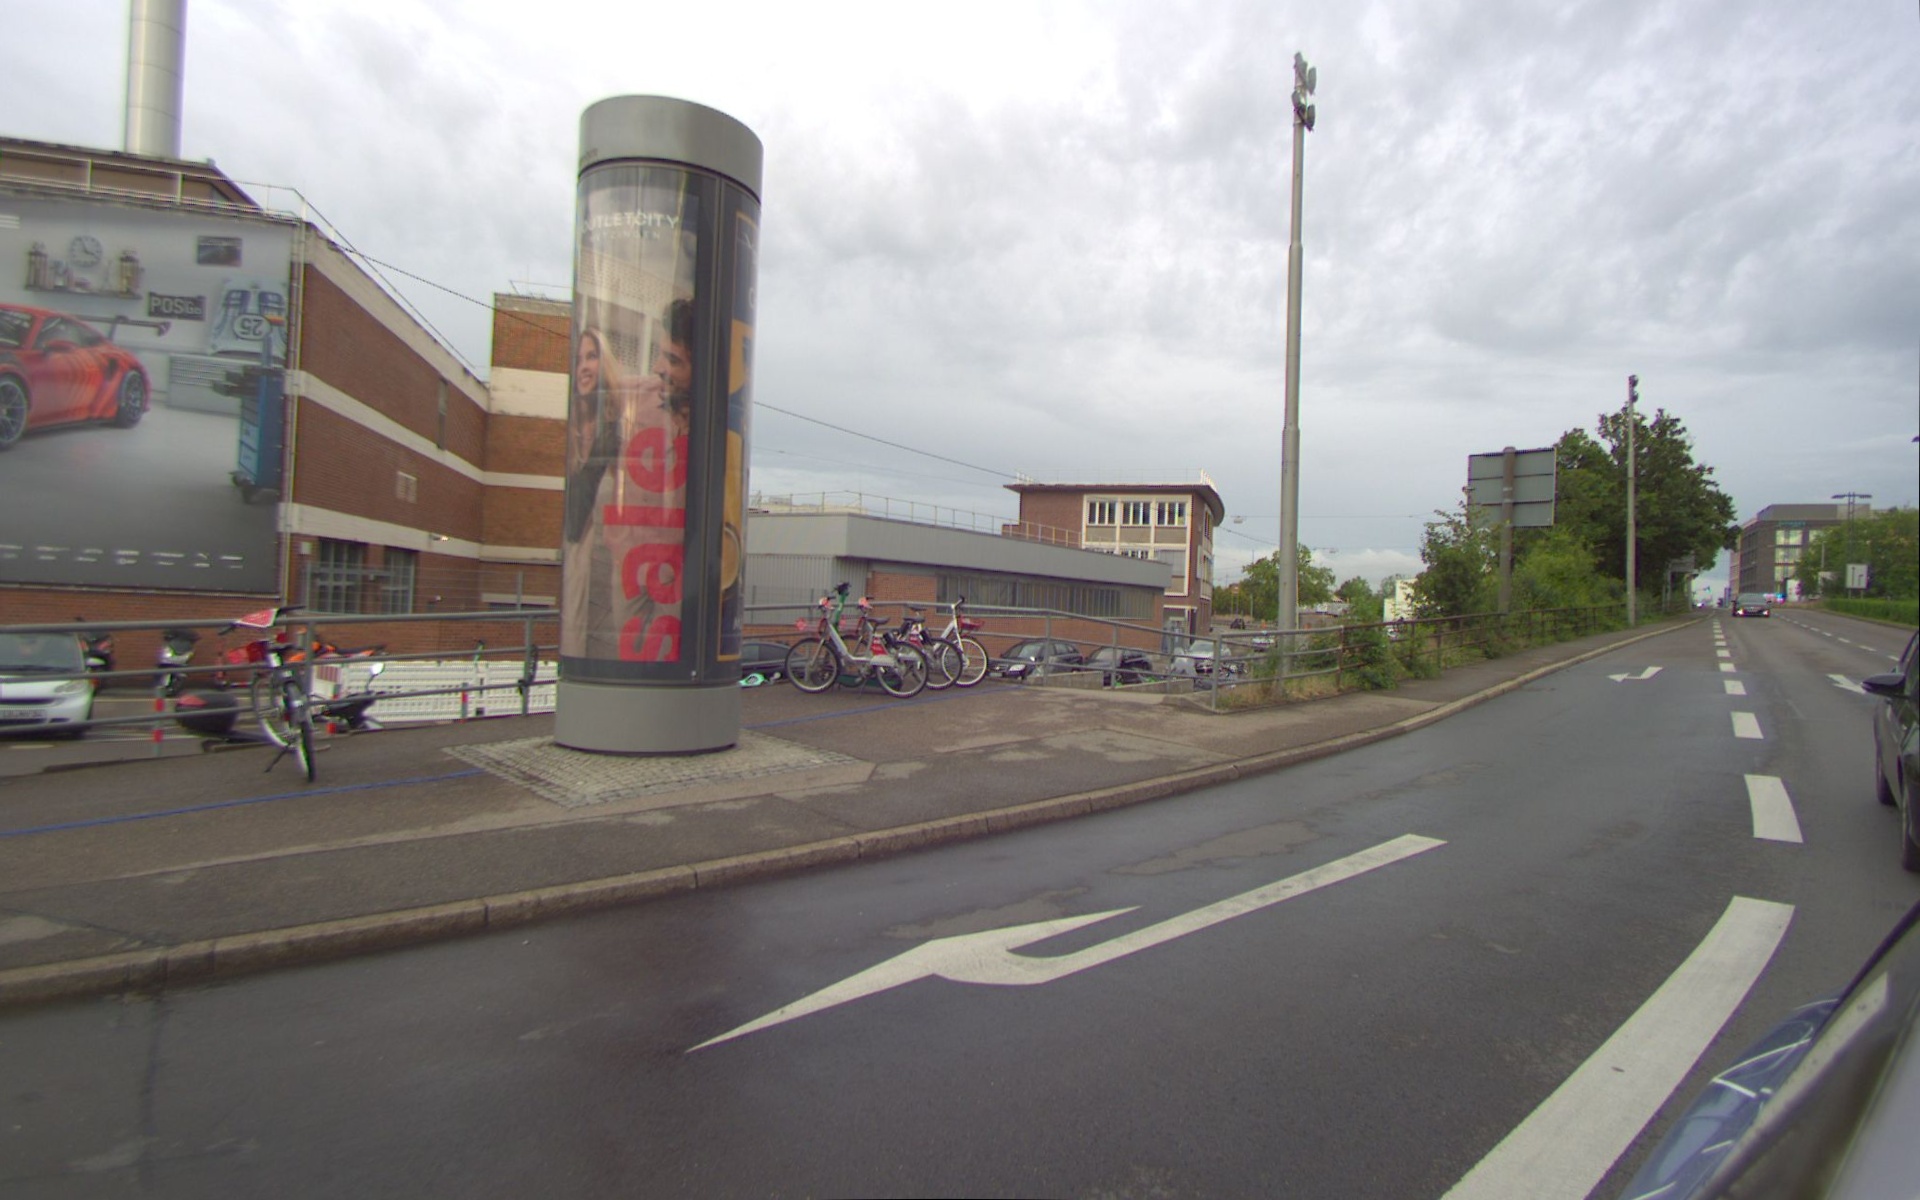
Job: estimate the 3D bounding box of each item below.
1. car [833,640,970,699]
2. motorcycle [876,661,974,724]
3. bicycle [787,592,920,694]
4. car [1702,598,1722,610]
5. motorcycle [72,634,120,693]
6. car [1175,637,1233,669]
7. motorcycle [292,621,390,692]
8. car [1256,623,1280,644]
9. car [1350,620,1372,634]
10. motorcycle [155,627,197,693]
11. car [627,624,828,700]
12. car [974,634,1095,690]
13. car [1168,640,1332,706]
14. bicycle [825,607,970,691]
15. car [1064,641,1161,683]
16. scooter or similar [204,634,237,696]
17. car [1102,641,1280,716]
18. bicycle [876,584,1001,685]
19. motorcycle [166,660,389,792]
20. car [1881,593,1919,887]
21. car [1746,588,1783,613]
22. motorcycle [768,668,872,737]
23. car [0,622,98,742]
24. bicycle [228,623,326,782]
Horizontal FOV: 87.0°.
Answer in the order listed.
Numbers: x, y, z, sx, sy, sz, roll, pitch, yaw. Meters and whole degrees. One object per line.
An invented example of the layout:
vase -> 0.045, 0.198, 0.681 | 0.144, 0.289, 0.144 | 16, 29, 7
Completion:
car -> -1.597, 1.919, 28.901 | 1.712, 1.444, 3.943 | 1, -1, 39
motorcycle -> -0.582, 1.505, 16.642 | 1.599, 0.933, 0.418 | 0, 0, 25
bicycle -> -1.221, 0.479, 11.653 | 1.438, 1.087, 0.442 | 2, 2, 9
car -> 97.815, 0.548, 131.670 | 1.805, 1.457, 4.250 | 2, 0, 33
motorcycle -> -16.173, 1.167, 18.967 | 0.531, 0.985, 1.616 | -1, 0, -35
car -> 12.244, 2.611, 50.607 | 1.720, 1.406, 3.955 | 1, -1, 31
motorcycle -> -12.747, 1.135, 20.890 | 0.521, 1.350, 1.646 | -1, 0, 38
car -> 23.261, 2.535, 76.395 | 1.698, 1.444, 3.976 | 1, 0, 18
car -> 44.907, 2.978, 113.328 | 1.695, 1.444, 3.982 | 1, 0, 14
motorcycle -> -15.227, 1.142, 19.678 | 0.574, 1.166, 1.720 | -1, 0, -35
car -> -5.378, 1.373, 23.940 | 1.880, 1.570, 4.445 | 1, -1, 38
car -> 2.590, 2.042, 34.337 | 1.777, 1.688, 4.438 | 1, -1, 41
car -> 7.592, 1.859, 26.799 | 1.688, 1.444, 3.999 | 2, -1, -36
bicycle -> -0.735, 0.573, 12.123 | 1.673, 0.933, 0.486 | 1, 1, 4
car -> 5.933, 2.338, 39.009 | 1.713, 1.422, 4.211 | 1, -1, 41
scooter or similar -> -14.666, 1.261, 20.088 | 0.495, 1.110, 1.639 | -1, 0, -35
car -> 5.372, 1.782, 23.965 | 1.688, 1.444, 3.999 | 2, -1, -36
bicycle -> -0.280, 0.412, 12.844 | 1.527, 1.169, 0.448 | 3, 3, 22
motorcycle -> -5.721, 1.016, 8.565 | 0.400, 0.901, 1.521 | 1, 1, 36
car -> 6.777, 0.730, 6.072 | 1.687, 1.526, 3.953 | 0, 1, 40
car -> 49.634, -0.007, 62.386 | 1.741, 1.493, 4.011 | 0, 1, 39
motorcycle -> -2.118, 1.524, 15.211 | 1.600, 0.933, 0.417 | 0, 0, 27
car -> -14.026, 1.135, 15.167 | 1.541, 1.508, 3.992 | 2, -1, -42
bicycle -> -4.831, 0.660, 7.123 | 0.414, 0.933, 1.615 | 1, 0, -39
